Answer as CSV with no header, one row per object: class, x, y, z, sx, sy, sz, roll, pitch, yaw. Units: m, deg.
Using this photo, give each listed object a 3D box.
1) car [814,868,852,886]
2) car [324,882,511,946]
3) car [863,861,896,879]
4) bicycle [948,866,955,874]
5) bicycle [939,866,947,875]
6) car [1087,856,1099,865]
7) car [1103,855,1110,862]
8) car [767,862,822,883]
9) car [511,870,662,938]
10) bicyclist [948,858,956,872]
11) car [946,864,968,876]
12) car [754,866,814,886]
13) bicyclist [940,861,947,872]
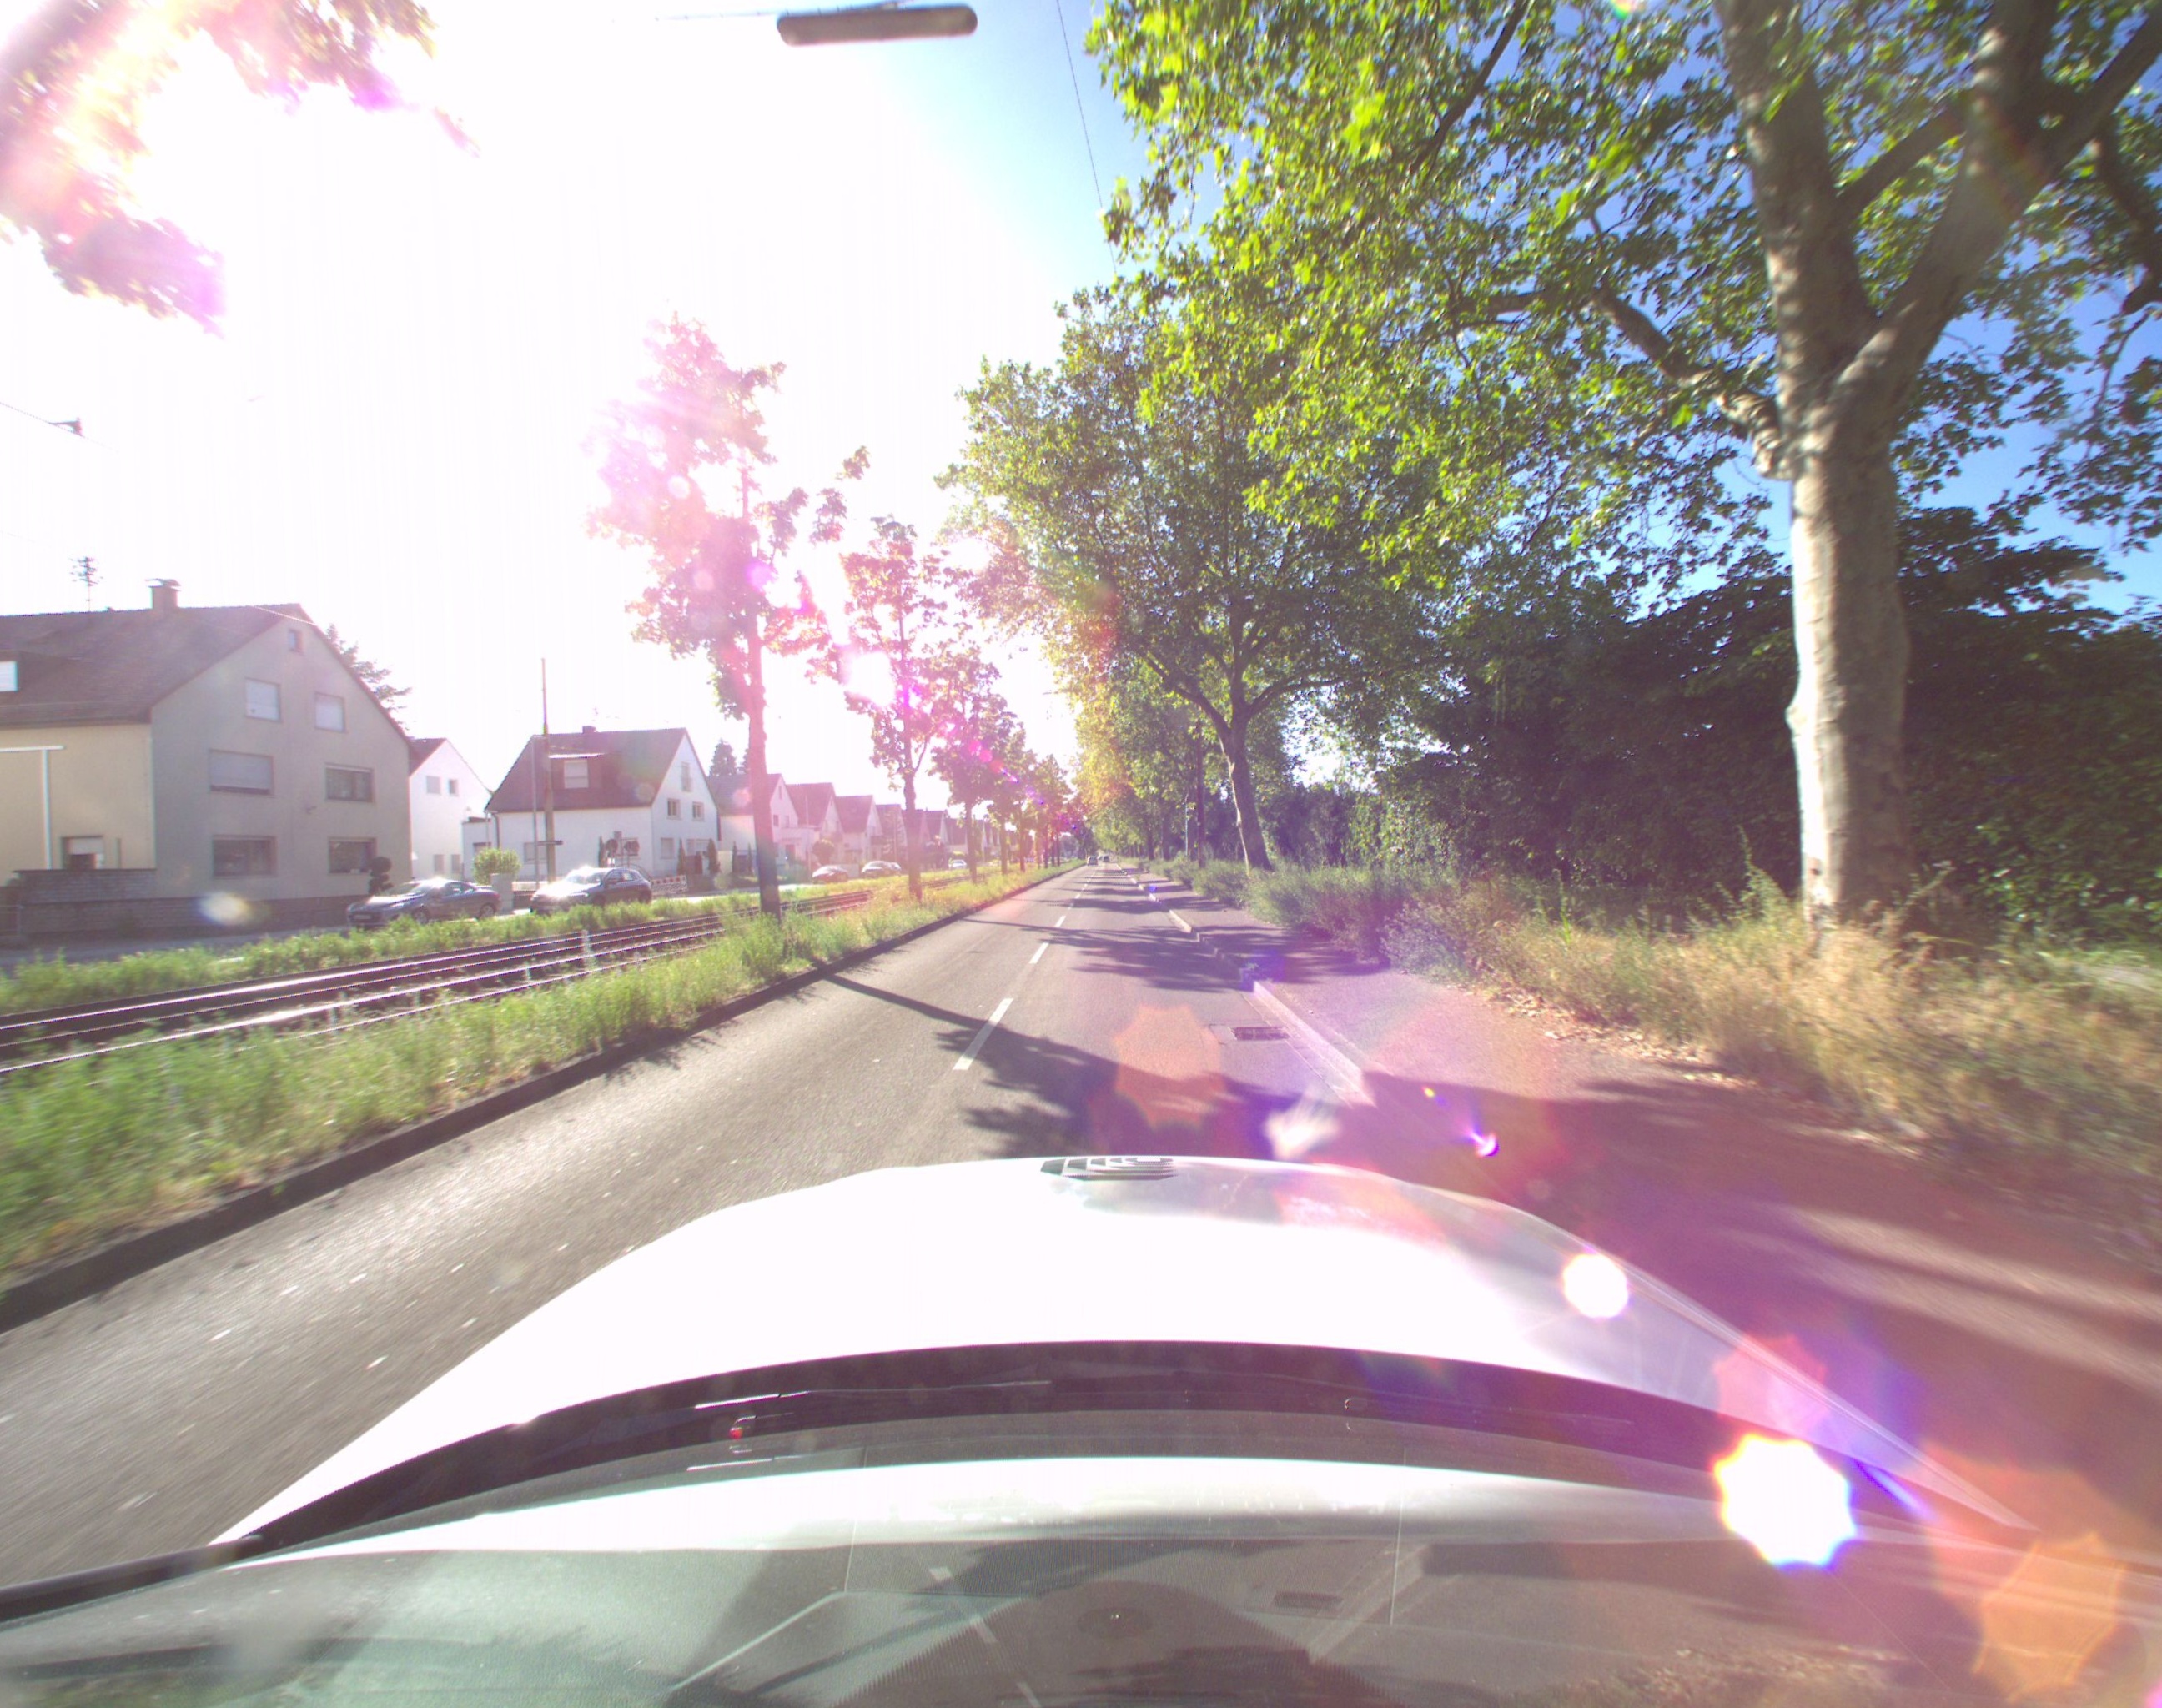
car,-19.223,1.761,63.269,1.487,1.326,4.003,-2,0,3
car,-20.412,1.774,25.363,1.986,1.581,4.501,-2,0,2
car,-18.631,1.451,75.429,1.637,1.568,4.389,-2,0,3
bicycle,-15.774,1.897,99.543,0.397,0.927,2.097,-2,0,2
bicycle,-16.158,1.932,95.373,0.397,1.070,1.880,-2,-1,2
car,1.830,0.985,126.364,1.732,1.401,3.278,-2,0,1
car,6.055,1.062,192.811,1.754,1.513,3.279,-2,0,2
car,-24.680,1.596,70.307,3.977,1.669,1.998,-2,0,-2
car,-15.765,1.517,26.281,1.908,1.883,4.527,-2,0,3
bicyclist,-15.777,1.306,99.636,0.686,1.652,0.882,-2,0,1
car,-18.053,2.299,118.951,1.984,1.599,4.738,-2,0,5
car,-24.253,1.809,66.587,4.202,1.463,1.936,-2,0,-3
bicyclist,-16.134,1.462,95.488,0.686,1.337,0.882,-2,0,1
